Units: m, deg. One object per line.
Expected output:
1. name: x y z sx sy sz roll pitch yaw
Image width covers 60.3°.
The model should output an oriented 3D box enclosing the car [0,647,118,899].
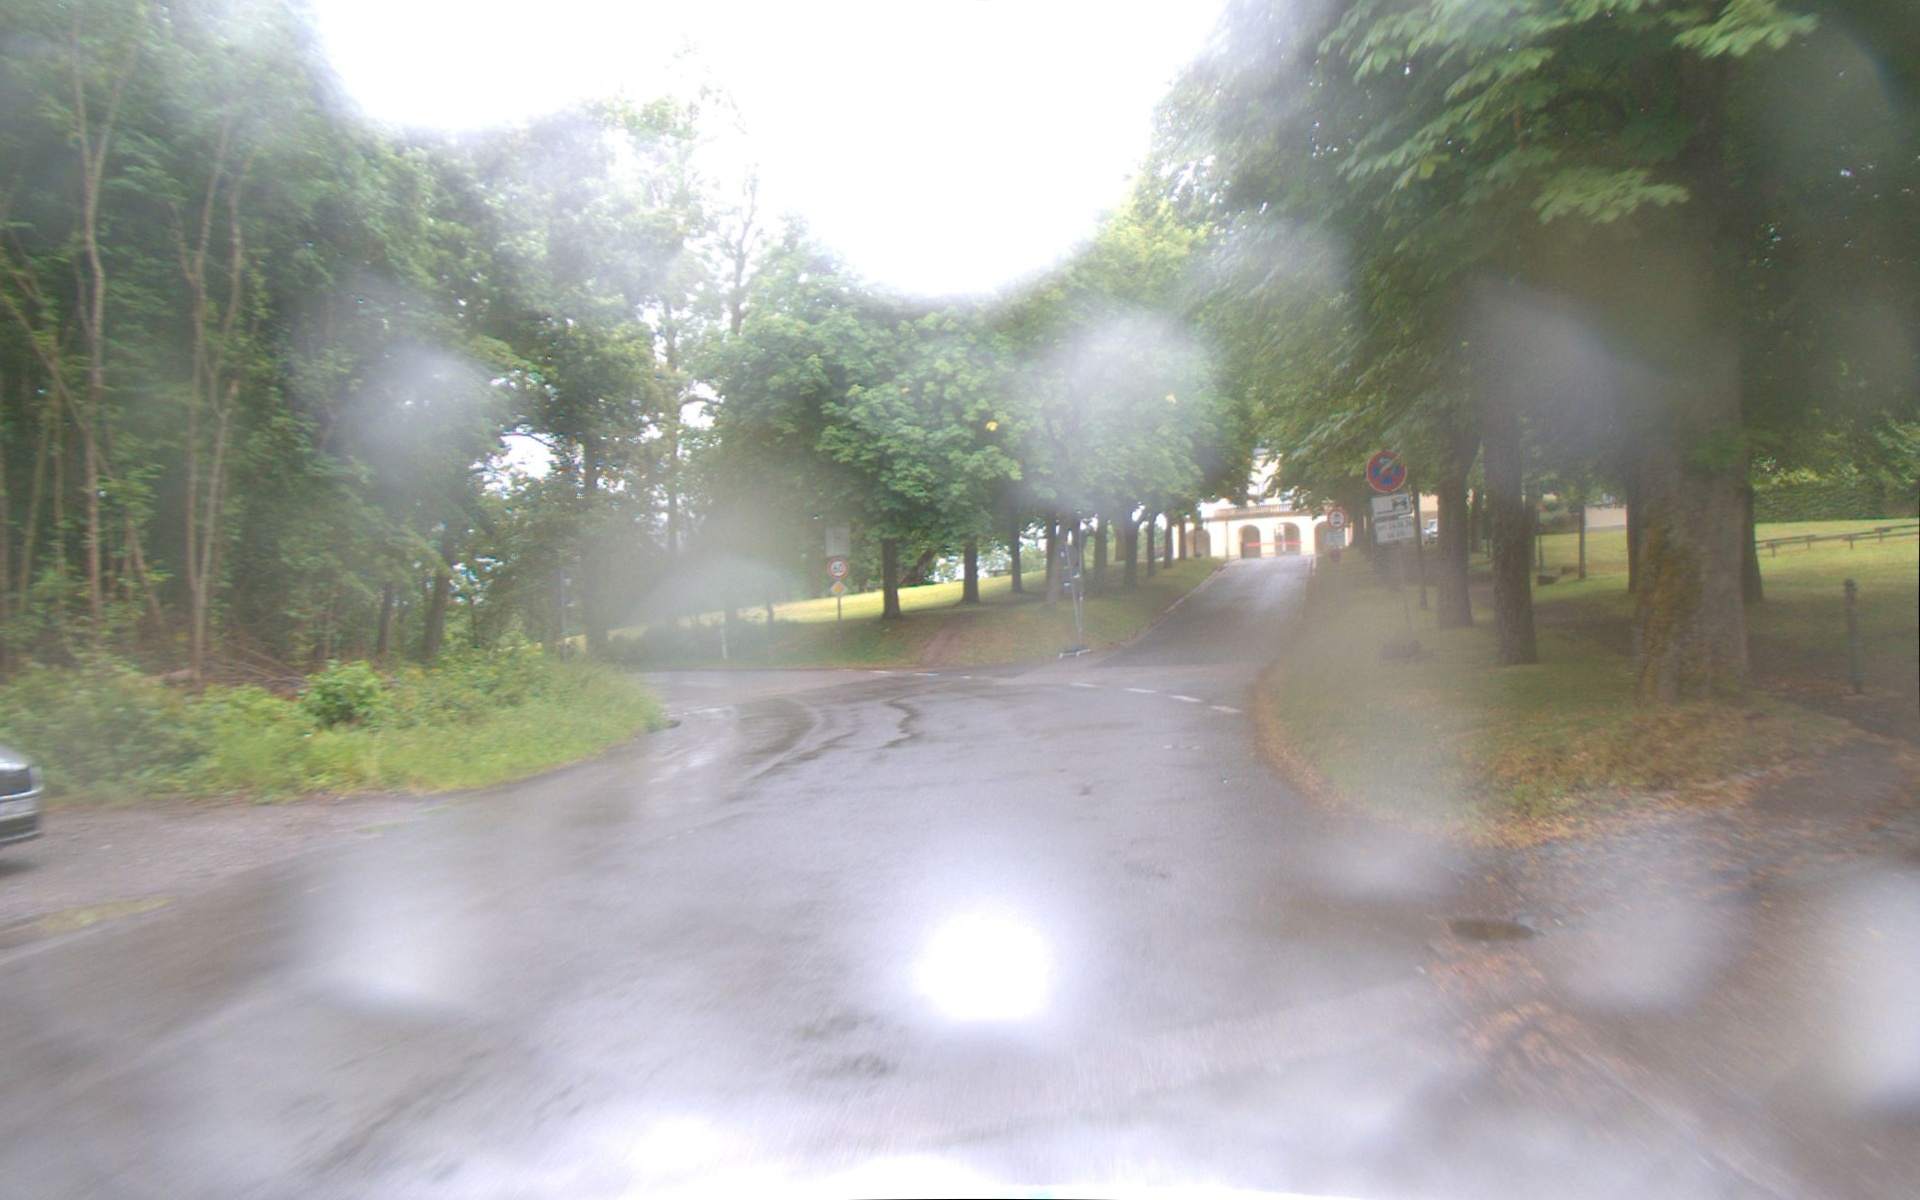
1. car: -8.229 1.183 11.298 4.049 1.582 1.775 -1 0 4
